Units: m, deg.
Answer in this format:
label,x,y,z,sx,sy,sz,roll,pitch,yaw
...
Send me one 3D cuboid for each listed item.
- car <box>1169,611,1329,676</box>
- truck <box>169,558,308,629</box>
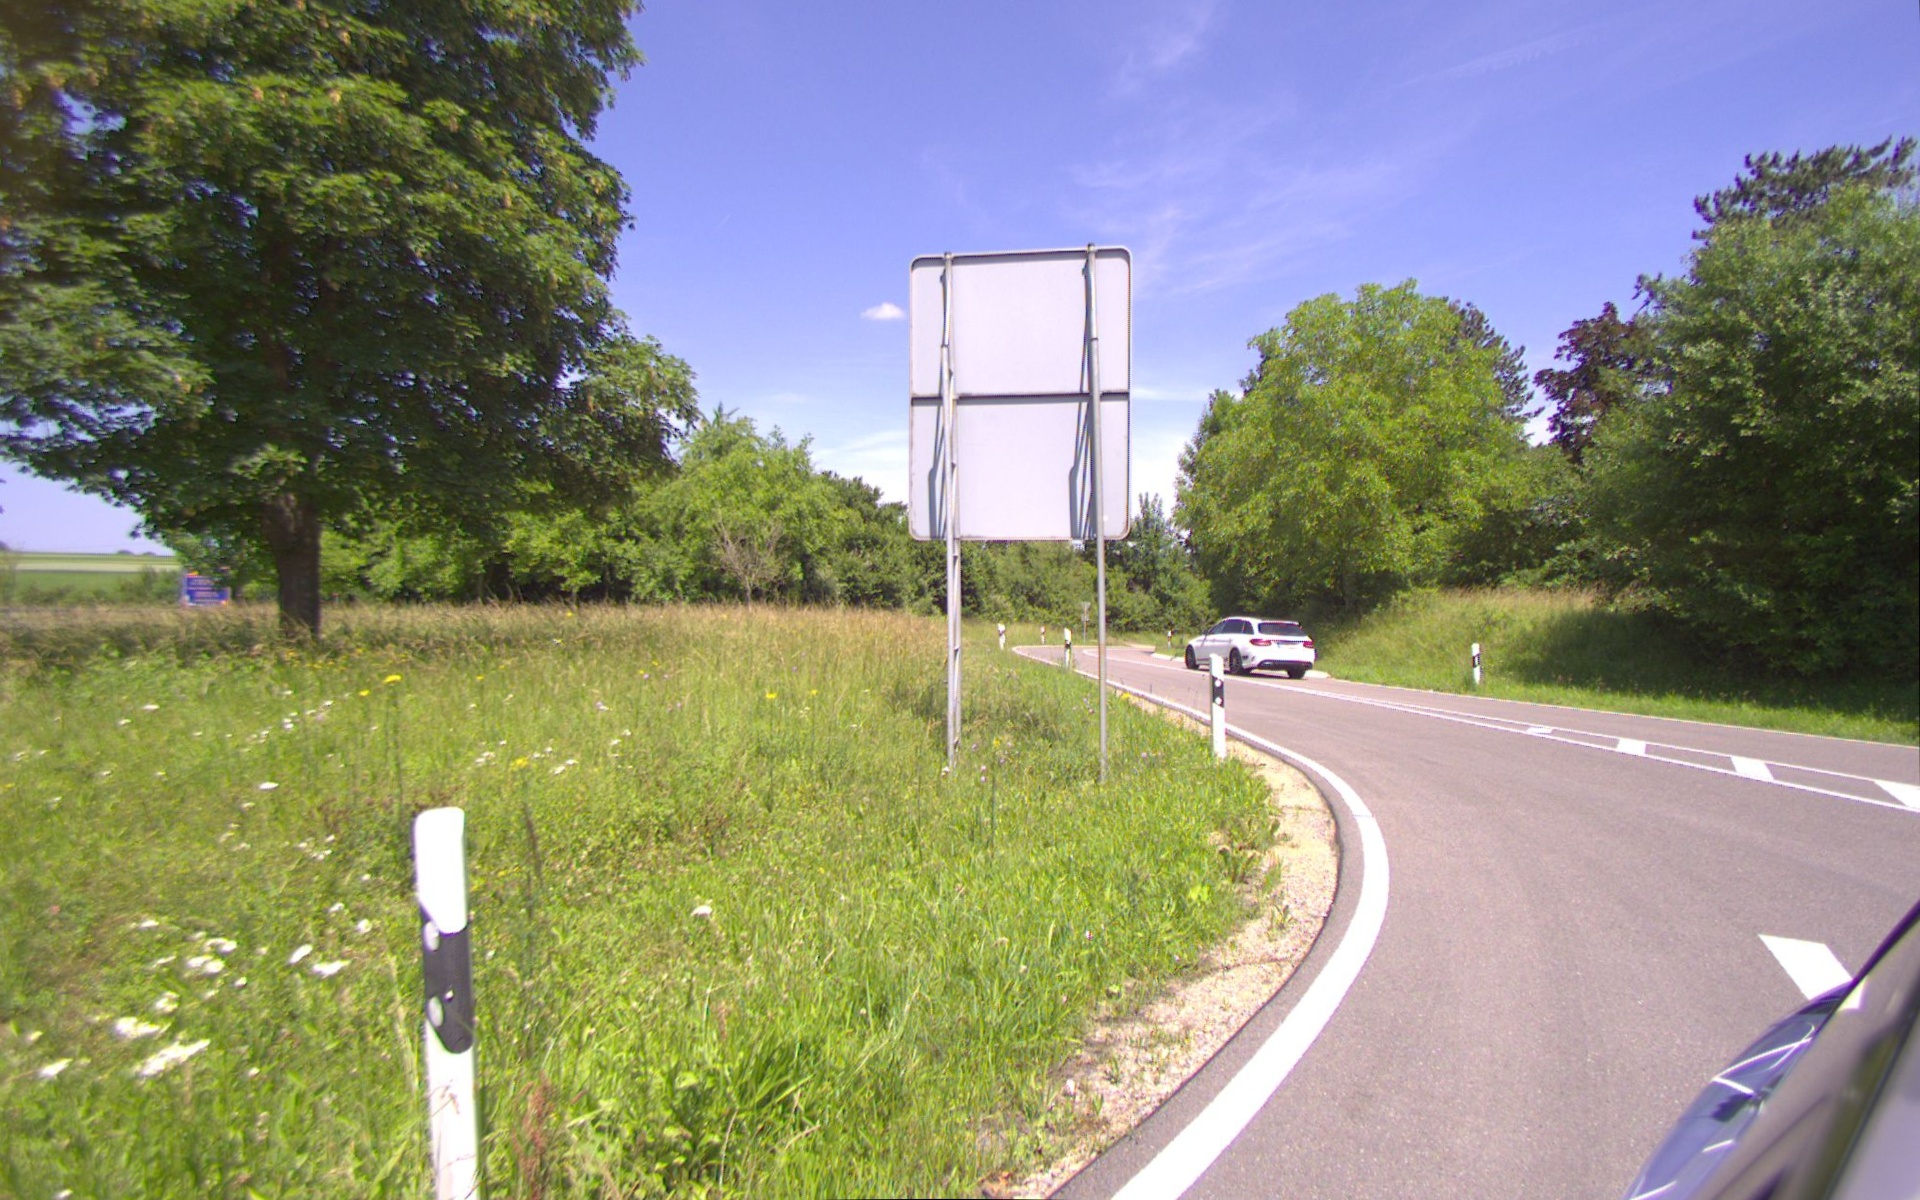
label,x,y,z,sx,sy,sz,roll,pitch,yaw
car,7.280,1.053,26.160,1.773,1.430,5.342,2,-1,-10
truck,-48.629,-0.390,69.032,2.792,4.184,16.845,1,0,-18
